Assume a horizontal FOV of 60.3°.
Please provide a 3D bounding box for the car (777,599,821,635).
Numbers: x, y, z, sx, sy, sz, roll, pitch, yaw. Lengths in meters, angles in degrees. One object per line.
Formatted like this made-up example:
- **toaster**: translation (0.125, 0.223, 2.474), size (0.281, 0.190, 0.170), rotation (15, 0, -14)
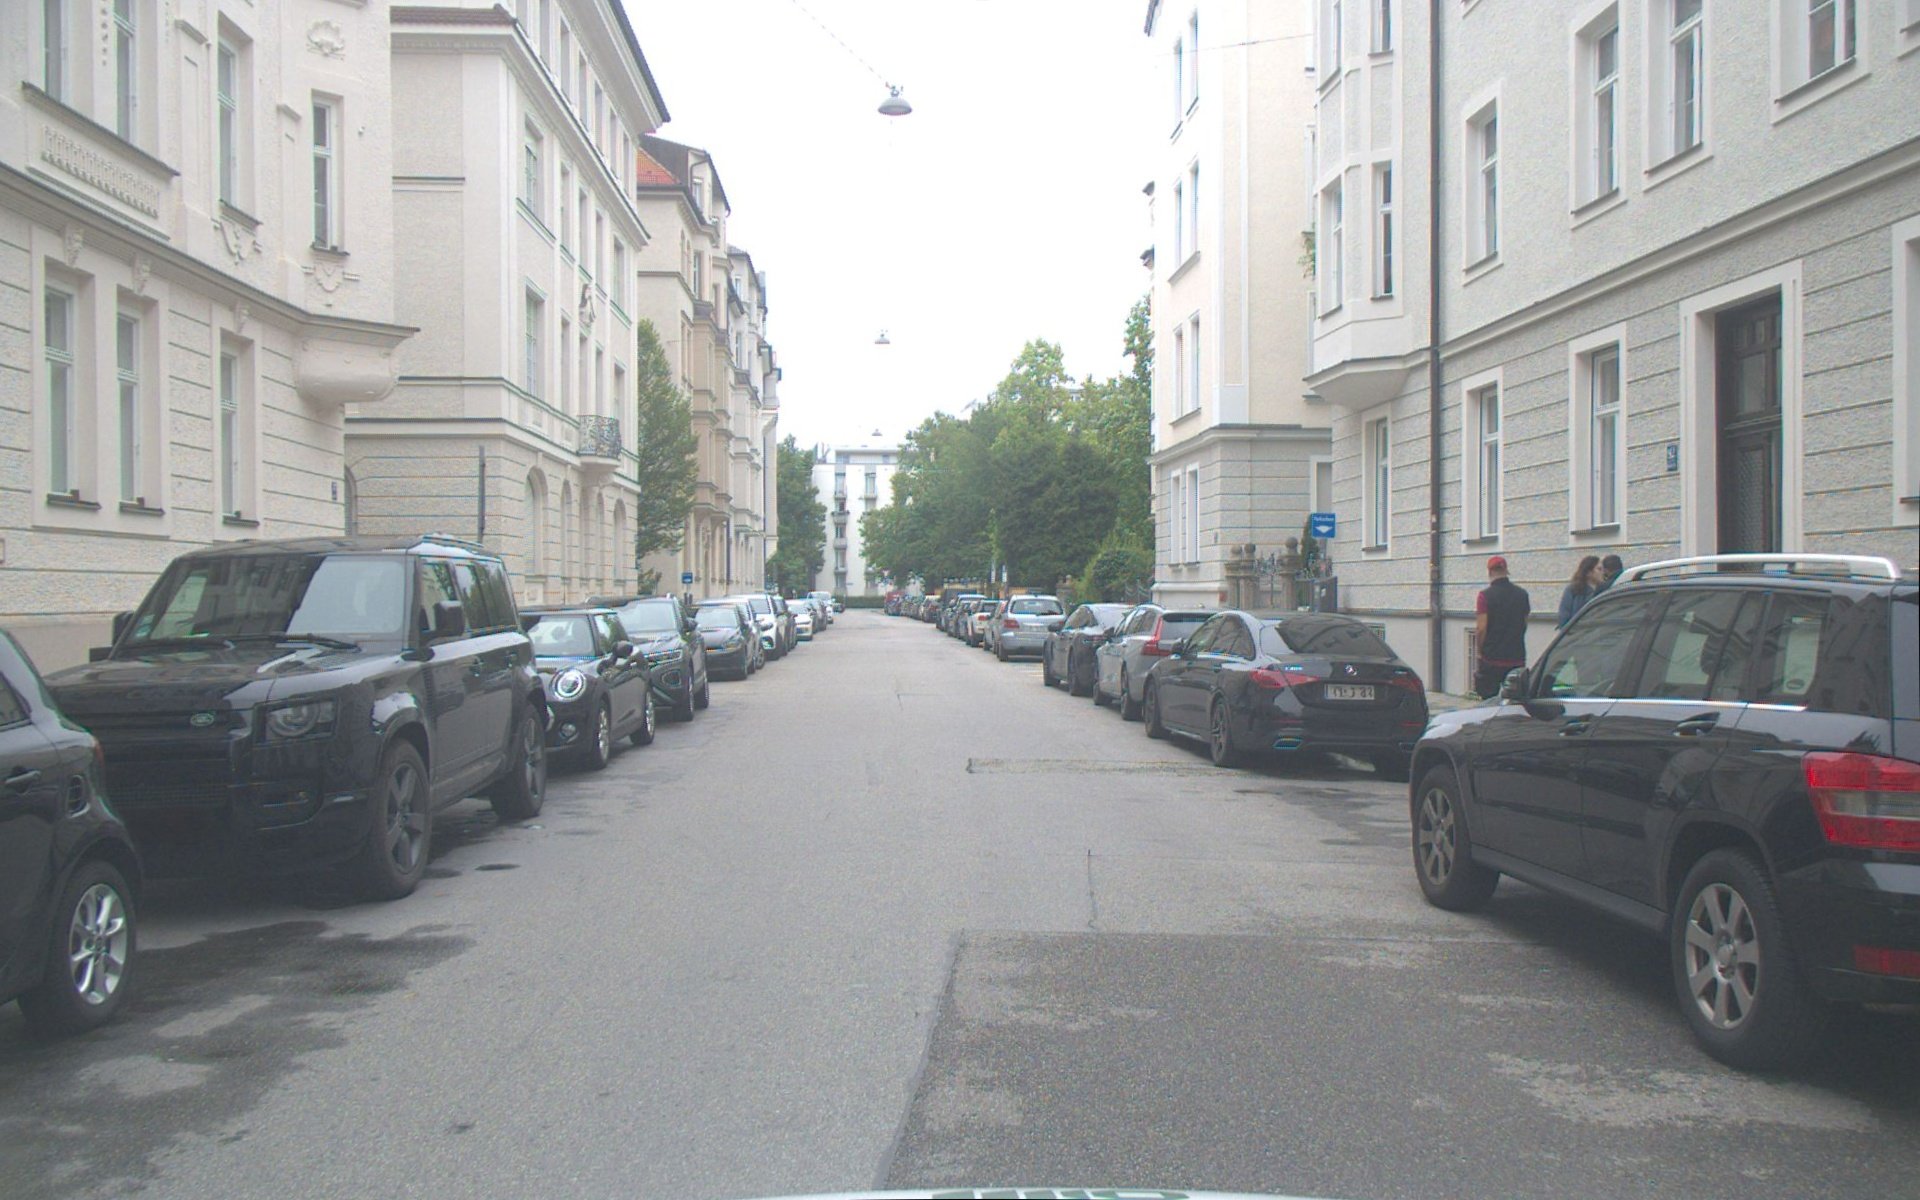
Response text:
- **car**: translation (-7.057, 0.714, 72.846), size (1.797, 1.459, 4.550), rotation (-2, 1, -4)

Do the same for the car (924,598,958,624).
- **car**: translation (-1.129, 0.644, 96.848), size (1.802, 1.438, 4.339), rotation (1, -1, -3)

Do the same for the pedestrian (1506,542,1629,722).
- **pedestrian**: translation (6.413, 0.322, 17.510), size (0.865, 1.845, 1.110), rotation (0, 0, -2)

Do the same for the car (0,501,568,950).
- **car**: translation (-3.677, 0.532, 9.694), size (1.800, 1.927, 4.760), rotation (-2, 1, -3)

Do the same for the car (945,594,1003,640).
- **car**: translation (0.521, 0.641, 64.332), size (1.716, 1.639, 4.418), rotation (2, 1, -6)

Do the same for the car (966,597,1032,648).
- **car**: translation (1.177, 0.680, 52.032), size (1.749, 1.531, 4.062), rotation (1, 0, -3)

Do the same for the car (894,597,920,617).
- **car**: translation (-4.351, 0.592, 135.519), size (1.803, 1.545, 3.942), rotation (1, -1, -7)

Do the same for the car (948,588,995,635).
- **car**: translation (0.436, 0.488, 69.140), size (1.688, 1.800, 4.410), rotation (3, -1, -3)

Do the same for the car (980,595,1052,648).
- **car**: translation (1.559, 0.587, 46.941), size (1.719, 1.431, 3.449), rotation (1, 0, -3)

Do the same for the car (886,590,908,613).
- **car**: translation (-5.582, 0.103, 146.275), size (1.799, 1.960, 4.004), rotation (3, 0, -1)

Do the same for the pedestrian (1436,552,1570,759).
- **pedestrian**: translation (5.079, 0.500, 15.541), size (0.865, 1.843, 1.111), rotation (-2, 0, 2)

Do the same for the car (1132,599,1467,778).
- **car**: translation (3.149, 0.757, 16.511), size (1.801, 1.423, 4.967), rotation (2, 1, -6)

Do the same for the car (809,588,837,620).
- **car**: translation (-9.765, 0.261, 117.411), size (1.850, 2.164, 4.701), rotation (-3, 1, -5)

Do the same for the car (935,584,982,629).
- **car**: translation (-0.086, 0.266, 78.803), size (1.912, 1.988, 4.663), rotation (1, 1, -4)

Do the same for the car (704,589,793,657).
- **car**: translation (-5.385, 0.538, 42.607), size (1.876, 1.647, 4.569), rotation (0, 0, -2)

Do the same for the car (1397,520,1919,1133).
- **car**: translation (3.356, 0.655, 6.753), size (1.764, 1.704, 4.186), rotation (2, 0, -4)

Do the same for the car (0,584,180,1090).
- **car**: translation (-3.697, 0.739, 4.509), size (1.584, 1.539, 3.529), rotation (-1, 0, -3)

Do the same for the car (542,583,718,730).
- **car**: translation (-4.141, 0.650, 21.304), size (1.693, 1.647, 4.117), rotation (-2, 0, -5)

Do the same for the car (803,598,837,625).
- **car**: translation (-8.330, 0.679, 98.963), size (1.800, 1.463, 4.272), rotation (-3, 1, -3)

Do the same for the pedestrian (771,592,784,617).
- **pedestrian**: translation (-12.657, 0.299, 114.702), size (0.778, 1.708, 0.698), rotation (-2, 0, -11)

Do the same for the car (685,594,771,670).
- **car**: translation (-5.217, 0.687, 37.536), size (1.748, 1.568, 4.251), rotation (-2, 0, -6)

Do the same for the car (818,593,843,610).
- **car**: translation (-11.984, 0.116, 152.522), size (1.840, 1.453, 4.398), rotation (-2, 0, -10)

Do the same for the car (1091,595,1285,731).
- **car**: translation (2.888, 0.741, 21.886), size (1.725, 1.511, 4.418), rotation (3, 0, -3)

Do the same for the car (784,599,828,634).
- **car**: translation (-7.240, 0.757, 78.273), size (1.800, 1.461, 4.242), rotation (-3, 1, -3)

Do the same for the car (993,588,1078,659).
- **car**: translation (1.823, 0.539, 41.169), size (1.785, 1.596, 4.399), rotation (3, 0, -1)

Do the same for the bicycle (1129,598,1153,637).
- **bicycle**: translation (5.422, 0.517, 49.699), size (0.425, 1.145, 1.881), rotation (0, 0, -2)

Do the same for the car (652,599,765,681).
- **car**: translation (-4.916, 0.736, 32.854), size (1.757, 1.440, 4.276), rotation (-2, 0, -3)

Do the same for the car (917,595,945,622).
- **car**: translation (-1.873, 0.542, 106.930), size (1.484, 1.690, 3.669), rotation (1, -1, -5)

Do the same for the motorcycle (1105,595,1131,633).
- **motorcycle**: translation (4.936, 0.419, 51.691), size (0.595, 1.131, 1.964), rotation (-2, 0, 0)

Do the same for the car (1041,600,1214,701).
- **car**: translation (2.617, 0.752, 27.007), size (1.955, 1.483, 4.708), rotation (0, 0, -5)

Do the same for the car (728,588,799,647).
- **car**: translation (-5.672, 0.467, 48.109), size (1.800, 1.647, 4.242), rotation (0, 0, -4)

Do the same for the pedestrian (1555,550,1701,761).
- **pedestrian**: translation (6.060, 0.485, 15.067), size (0.865, 1.817, 1.111), rotation (-2, 0, 3)

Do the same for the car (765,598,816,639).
- **car**: translation (-6.450, 0.685, 63.375), size (1.800, 1.459, 4.240), rotation (-2, 1, -5)

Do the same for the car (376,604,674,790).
- **car**: translation (-3.955, 0.805, 15.782), size (1.799, 1.418, 4.243), rotation (-2, 1, -2)
